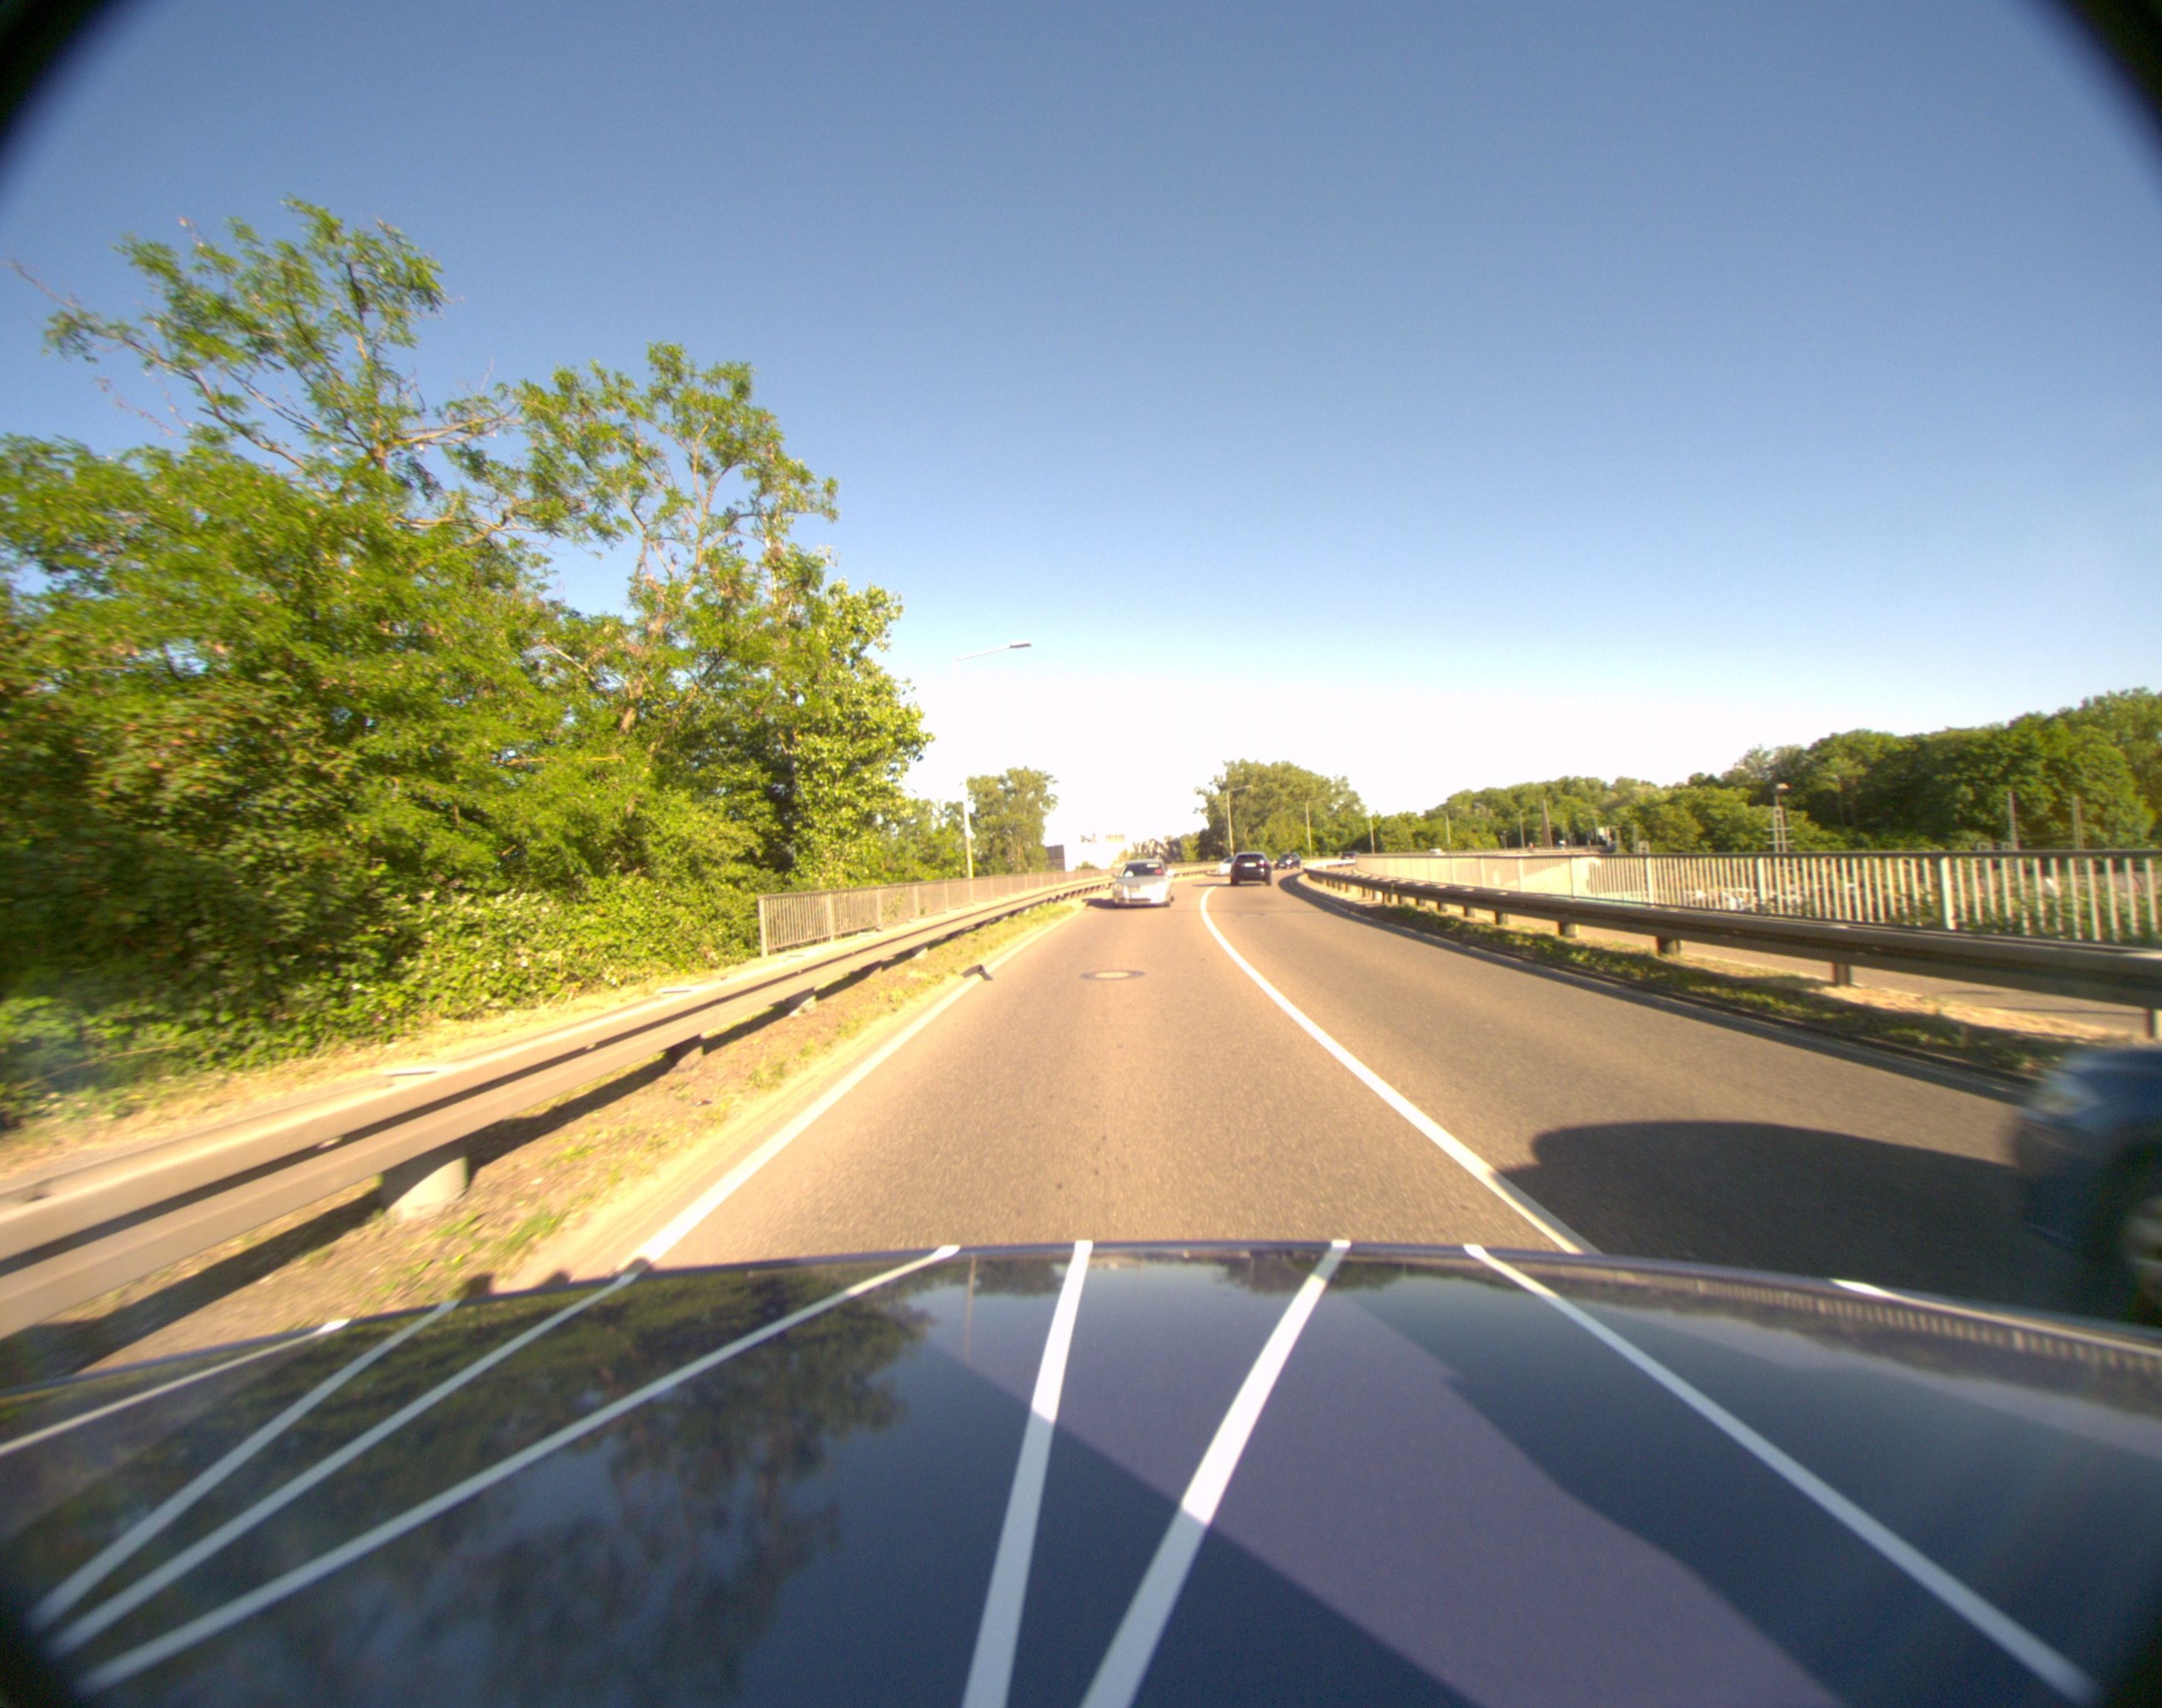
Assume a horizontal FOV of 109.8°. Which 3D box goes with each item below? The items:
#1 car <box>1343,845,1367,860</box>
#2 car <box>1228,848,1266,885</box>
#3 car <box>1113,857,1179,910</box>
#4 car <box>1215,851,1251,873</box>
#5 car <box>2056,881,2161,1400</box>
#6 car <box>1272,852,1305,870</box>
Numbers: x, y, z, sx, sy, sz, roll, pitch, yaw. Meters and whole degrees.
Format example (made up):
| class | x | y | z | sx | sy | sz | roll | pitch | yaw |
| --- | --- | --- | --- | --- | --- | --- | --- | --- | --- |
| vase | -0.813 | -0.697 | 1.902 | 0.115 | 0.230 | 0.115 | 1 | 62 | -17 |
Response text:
| class | x | y | z | sx | sy | sz | roll | pitch | yaw |
| --- | --- | --- | --- | --- | --- | --- | --- | --- | --- |
| car | 30.866 | -0.167 | 85.648 | 1.679 | 1.619 | 3.612 | -2 | 1 | 34 |
| car | 8.114 | 0.569 | 37.199 | 1.681 | 1.646 | 3.861 | -2 | 1 | 12 |
| car | 2.153 | 0.882 | 24.174 | 1.681 | 1.433 | 3.861 | -2 | 1 | 10 |
| car | 11.771 | 0.602 | 58.579 | 2.147 | 1.558 | 4.204 | -1 | 0 | 19 |
| car | 3.863 | 0.798 | 0.349 | 1.683 | 1.442 | 3.999 | -2 | 0 | 0 |
| car | 20.909 | 0.715 | 76.480 | 1.679 | 1.694 | 3.612 | -2 | 1 | 41 |
